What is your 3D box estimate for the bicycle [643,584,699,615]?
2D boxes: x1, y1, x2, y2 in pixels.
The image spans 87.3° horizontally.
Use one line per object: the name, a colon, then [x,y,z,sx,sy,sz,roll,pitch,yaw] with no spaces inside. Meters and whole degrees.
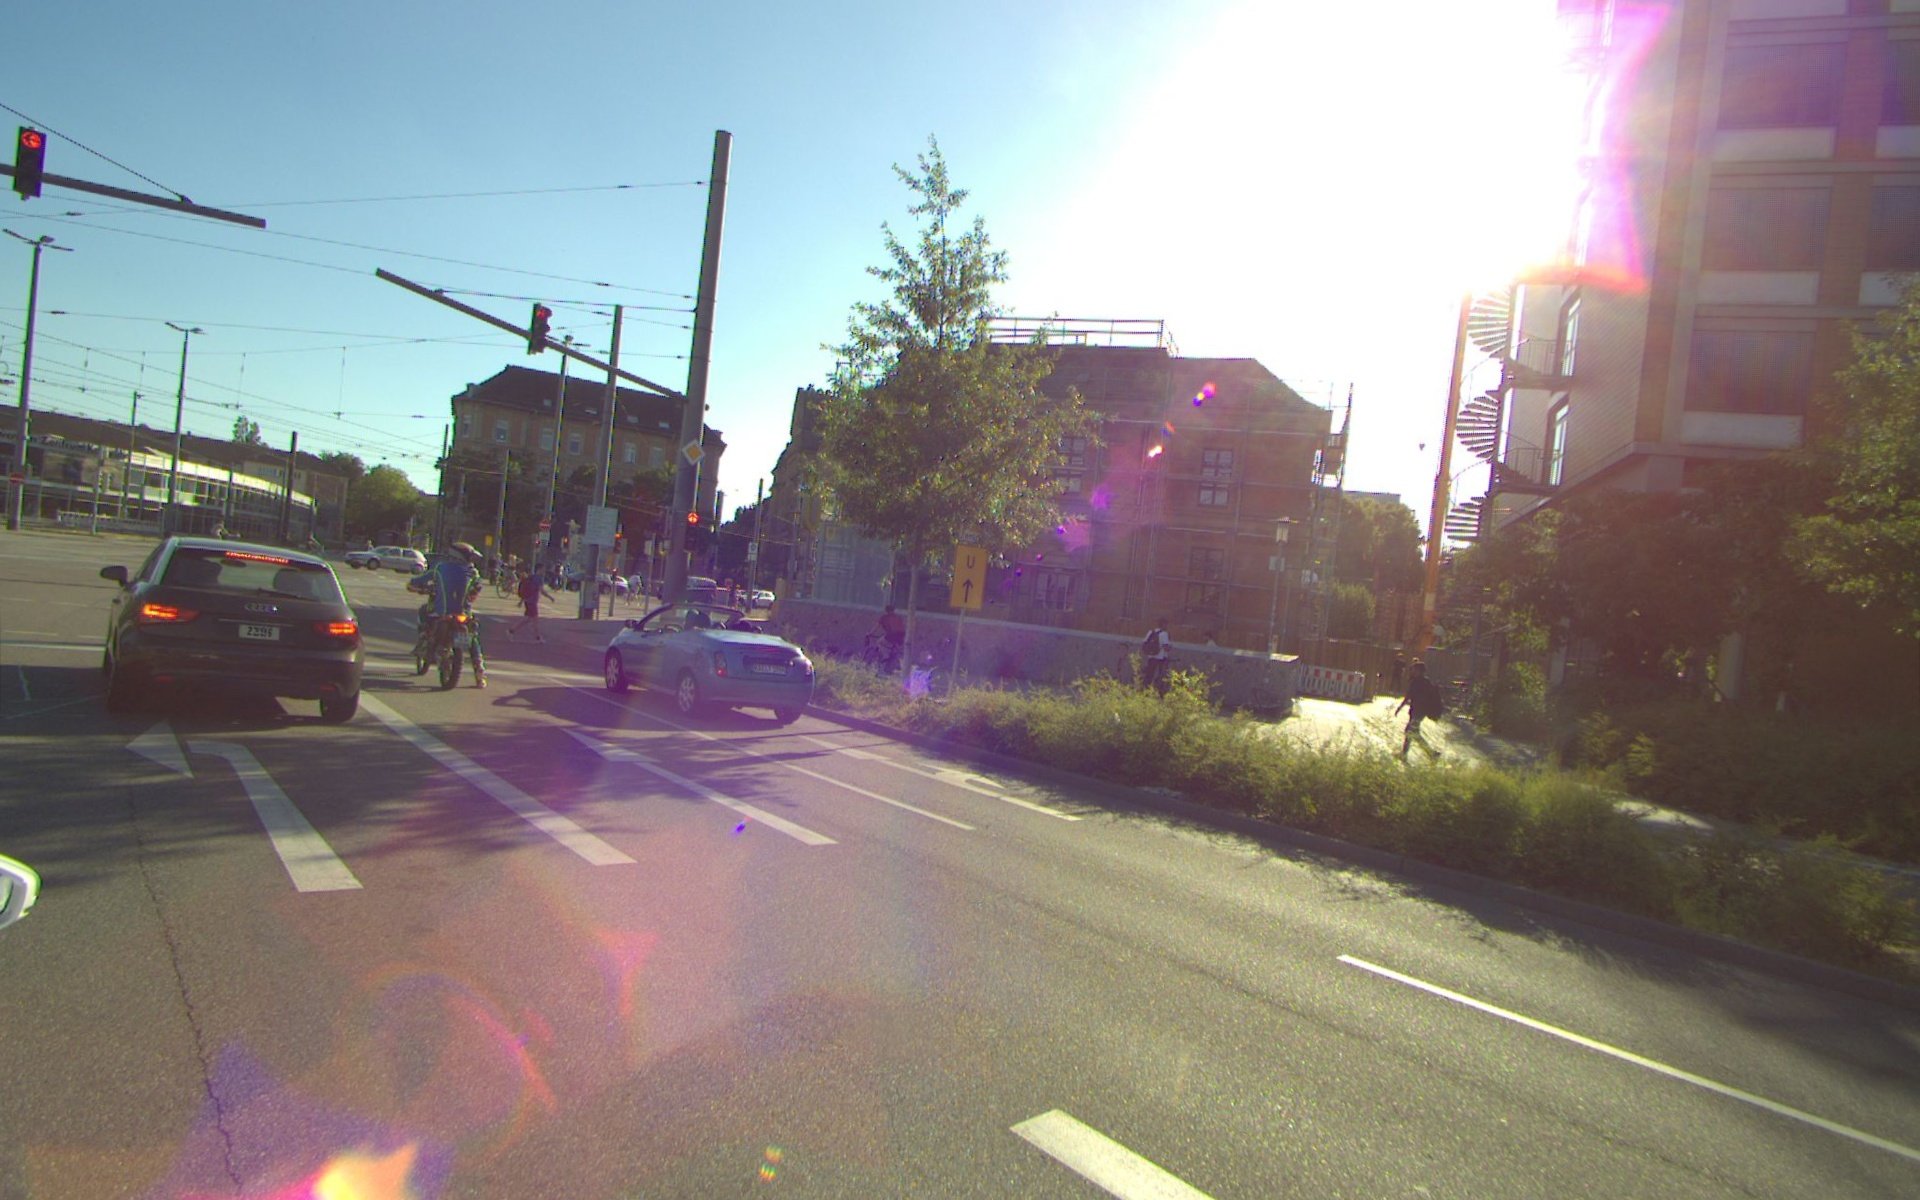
bicycle: [-14.418,-0.027,50.179,2.469,1.147,0.855,8,0,-23]

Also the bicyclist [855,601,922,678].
bicyclist: [-1.445,0.787,20.201,0.717,1.400,1.064,7,-2,-41]

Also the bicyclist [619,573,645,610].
bicyclist: [-16.705,-0.429,51.265,0.846,1.711,0.650,9,1,31]

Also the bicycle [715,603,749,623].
bicycle: [-12.846,0.739,56.779,0.844,0.916,2.305,8,0,12]

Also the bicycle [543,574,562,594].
bicycle: [-23.003,-0.897,56.795,0.848,0.916,2.292,8,0,-21]

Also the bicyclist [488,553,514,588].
bicyclist: [-24.628,-1.579,53.948,0.844,1.711,0.651,8,1,14]

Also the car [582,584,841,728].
car: [-3.583,0.724,14.067,1.795,1.461,3.933,9,-2,-41]

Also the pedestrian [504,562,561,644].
pedestrian: [-9.312,0.069,21.933,0.685,1.693,0.829,5,1,10]

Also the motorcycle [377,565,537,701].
motorcycle: [-6.305,0.362,12.503,1.091,1.393,2.624,8,-2,-39]

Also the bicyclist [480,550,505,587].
bicyclist: [-24.791,-1.667,53.314,0.850,1.800,0.585,6,0,15]

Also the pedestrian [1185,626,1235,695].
pedestrian: [6.783,1.646,27.256,0.921,1.745,0.985,6,0,30]

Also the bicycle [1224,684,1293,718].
bicycle: [6.480,2.188,21.873,1.336,0.547,0.428,7,2,36]

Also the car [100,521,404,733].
car: [-6.668,0.155,9.298,1.795,1.461,3.933,9,-2,-41]

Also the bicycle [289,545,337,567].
bicycle: [-39.146,-2.651,60.902,0.844,0.971,2.304,8,0,20]

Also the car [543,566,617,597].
car: [-24.046,-1.160,63.766,1.919,1.504,4.100,6,-1,25]

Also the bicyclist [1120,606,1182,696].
bicyclist: [4.048,1.076,21.351,0.781,1.809,0.886,4,1,-33]

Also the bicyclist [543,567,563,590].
bicyclist: [-22.920,-1.209,56.676,0.848,1.191,0.711,8,1,-21]

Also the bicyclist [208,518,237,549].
bicyclist: [-42.629,-3.839,58.127,0.845,1.579,0.925,8,1,27]

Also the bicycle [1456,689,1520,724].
bicycle: [16.600,3.333,31.657,1.623,0.868,0.529,6,0,19]

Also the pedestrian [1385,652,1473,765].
pedestrian: [7.603,1.751,16.331,0.799,1.677,0.785,9,-1,-25]

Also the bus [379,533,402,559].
bus: [-77.707,-7.386,137.150,2.337,2.918,9.500,8,0,-30]

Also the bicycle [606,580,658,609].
bicycle: [-16.698,-0.278,51.310,0.846,1.147,2.497,8,0,31]

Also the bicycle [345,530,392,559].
bicycle: [-41.064,-3.811,69.948,1.119,1.710,3.995,8,0,-7]

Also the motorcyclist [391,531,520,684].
motorcyclist: [-6.281,0.097,12.516,1.091,1.741,0.926,7,-1,-40]

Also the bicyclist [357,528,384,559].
bicyclist: [-41.023,-3.908,70.009,1.103,1.924,1.072,8,1,-6]

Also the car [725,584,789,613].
car: [-16.263,-0.117,80.866,1.924,1.821,4.835,6,-1,36]

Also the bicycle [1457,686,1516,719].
bicycle: [17.672,3.450,33.801,1.623,0.868,0.529,6,0,19]

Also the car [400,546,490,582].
car: [-31.516,-2.220,61.589,4.573,1.613,1.936,7,-1,-35]

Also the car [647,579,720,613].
car: [-19.889,-0.234,72.439,1.923,1.916,4.837,6,-1,35]

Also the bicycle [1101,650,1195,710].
bicycle: [3.978,1.677,21.407,0.783,1.052,1.946,4,0,-33]

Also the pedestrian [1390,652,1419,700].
pedestrian: [20.054,3.418,45.382,0.978,2.038,1.297,6,0,27]

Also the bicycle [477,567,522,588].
bicycle: [-24.667,-1.193,53.941,0.844,0.916,2.305,8,0,14]

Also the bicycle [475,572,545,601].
bicycle: [-18.109,-0.529,40.545,0.845,0.885,2.499,8,0,28]

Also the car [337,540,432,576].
car: [-31.723,-2.291,55.602,1.919,1.469,4.104,6,-1,27]

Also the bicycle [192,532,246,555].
bicycle: [-42.750,-3.238,58.101,0.845,0.991,2.301,8,0,27]

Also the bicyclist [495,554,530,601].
bicyclist: [-18.048,-0.907,40.563,0.845,1.711,0.746,8,1,28]

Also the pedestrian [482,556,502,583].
pedestrian: [-32.677,-2.124,70.220,0.920,1.696,0.774,6,0,-41]

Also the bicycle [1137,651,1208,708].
bicycle: [4.652,1.728,22.140,0.618,1.052,1.957,4,0,-15]

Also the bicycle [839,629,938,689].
bicycle: [-1.462,1.169,20.168,0.717,0.963,2.225,8,-3,-41]

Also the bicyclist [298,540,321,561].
bicyclist: [-39.194,-2.982,60.631,0.822,1.157,0.715,8,1,21]

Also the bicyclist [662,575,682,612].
bicyclist: [-14.372,-0.326,50.183,0.643,1.711,0.855,8,1,-23]

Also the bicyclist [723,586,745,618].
bicyclist: [-12.767,0.112,56.835,0.844,1.711,0.651,8,1,12]
